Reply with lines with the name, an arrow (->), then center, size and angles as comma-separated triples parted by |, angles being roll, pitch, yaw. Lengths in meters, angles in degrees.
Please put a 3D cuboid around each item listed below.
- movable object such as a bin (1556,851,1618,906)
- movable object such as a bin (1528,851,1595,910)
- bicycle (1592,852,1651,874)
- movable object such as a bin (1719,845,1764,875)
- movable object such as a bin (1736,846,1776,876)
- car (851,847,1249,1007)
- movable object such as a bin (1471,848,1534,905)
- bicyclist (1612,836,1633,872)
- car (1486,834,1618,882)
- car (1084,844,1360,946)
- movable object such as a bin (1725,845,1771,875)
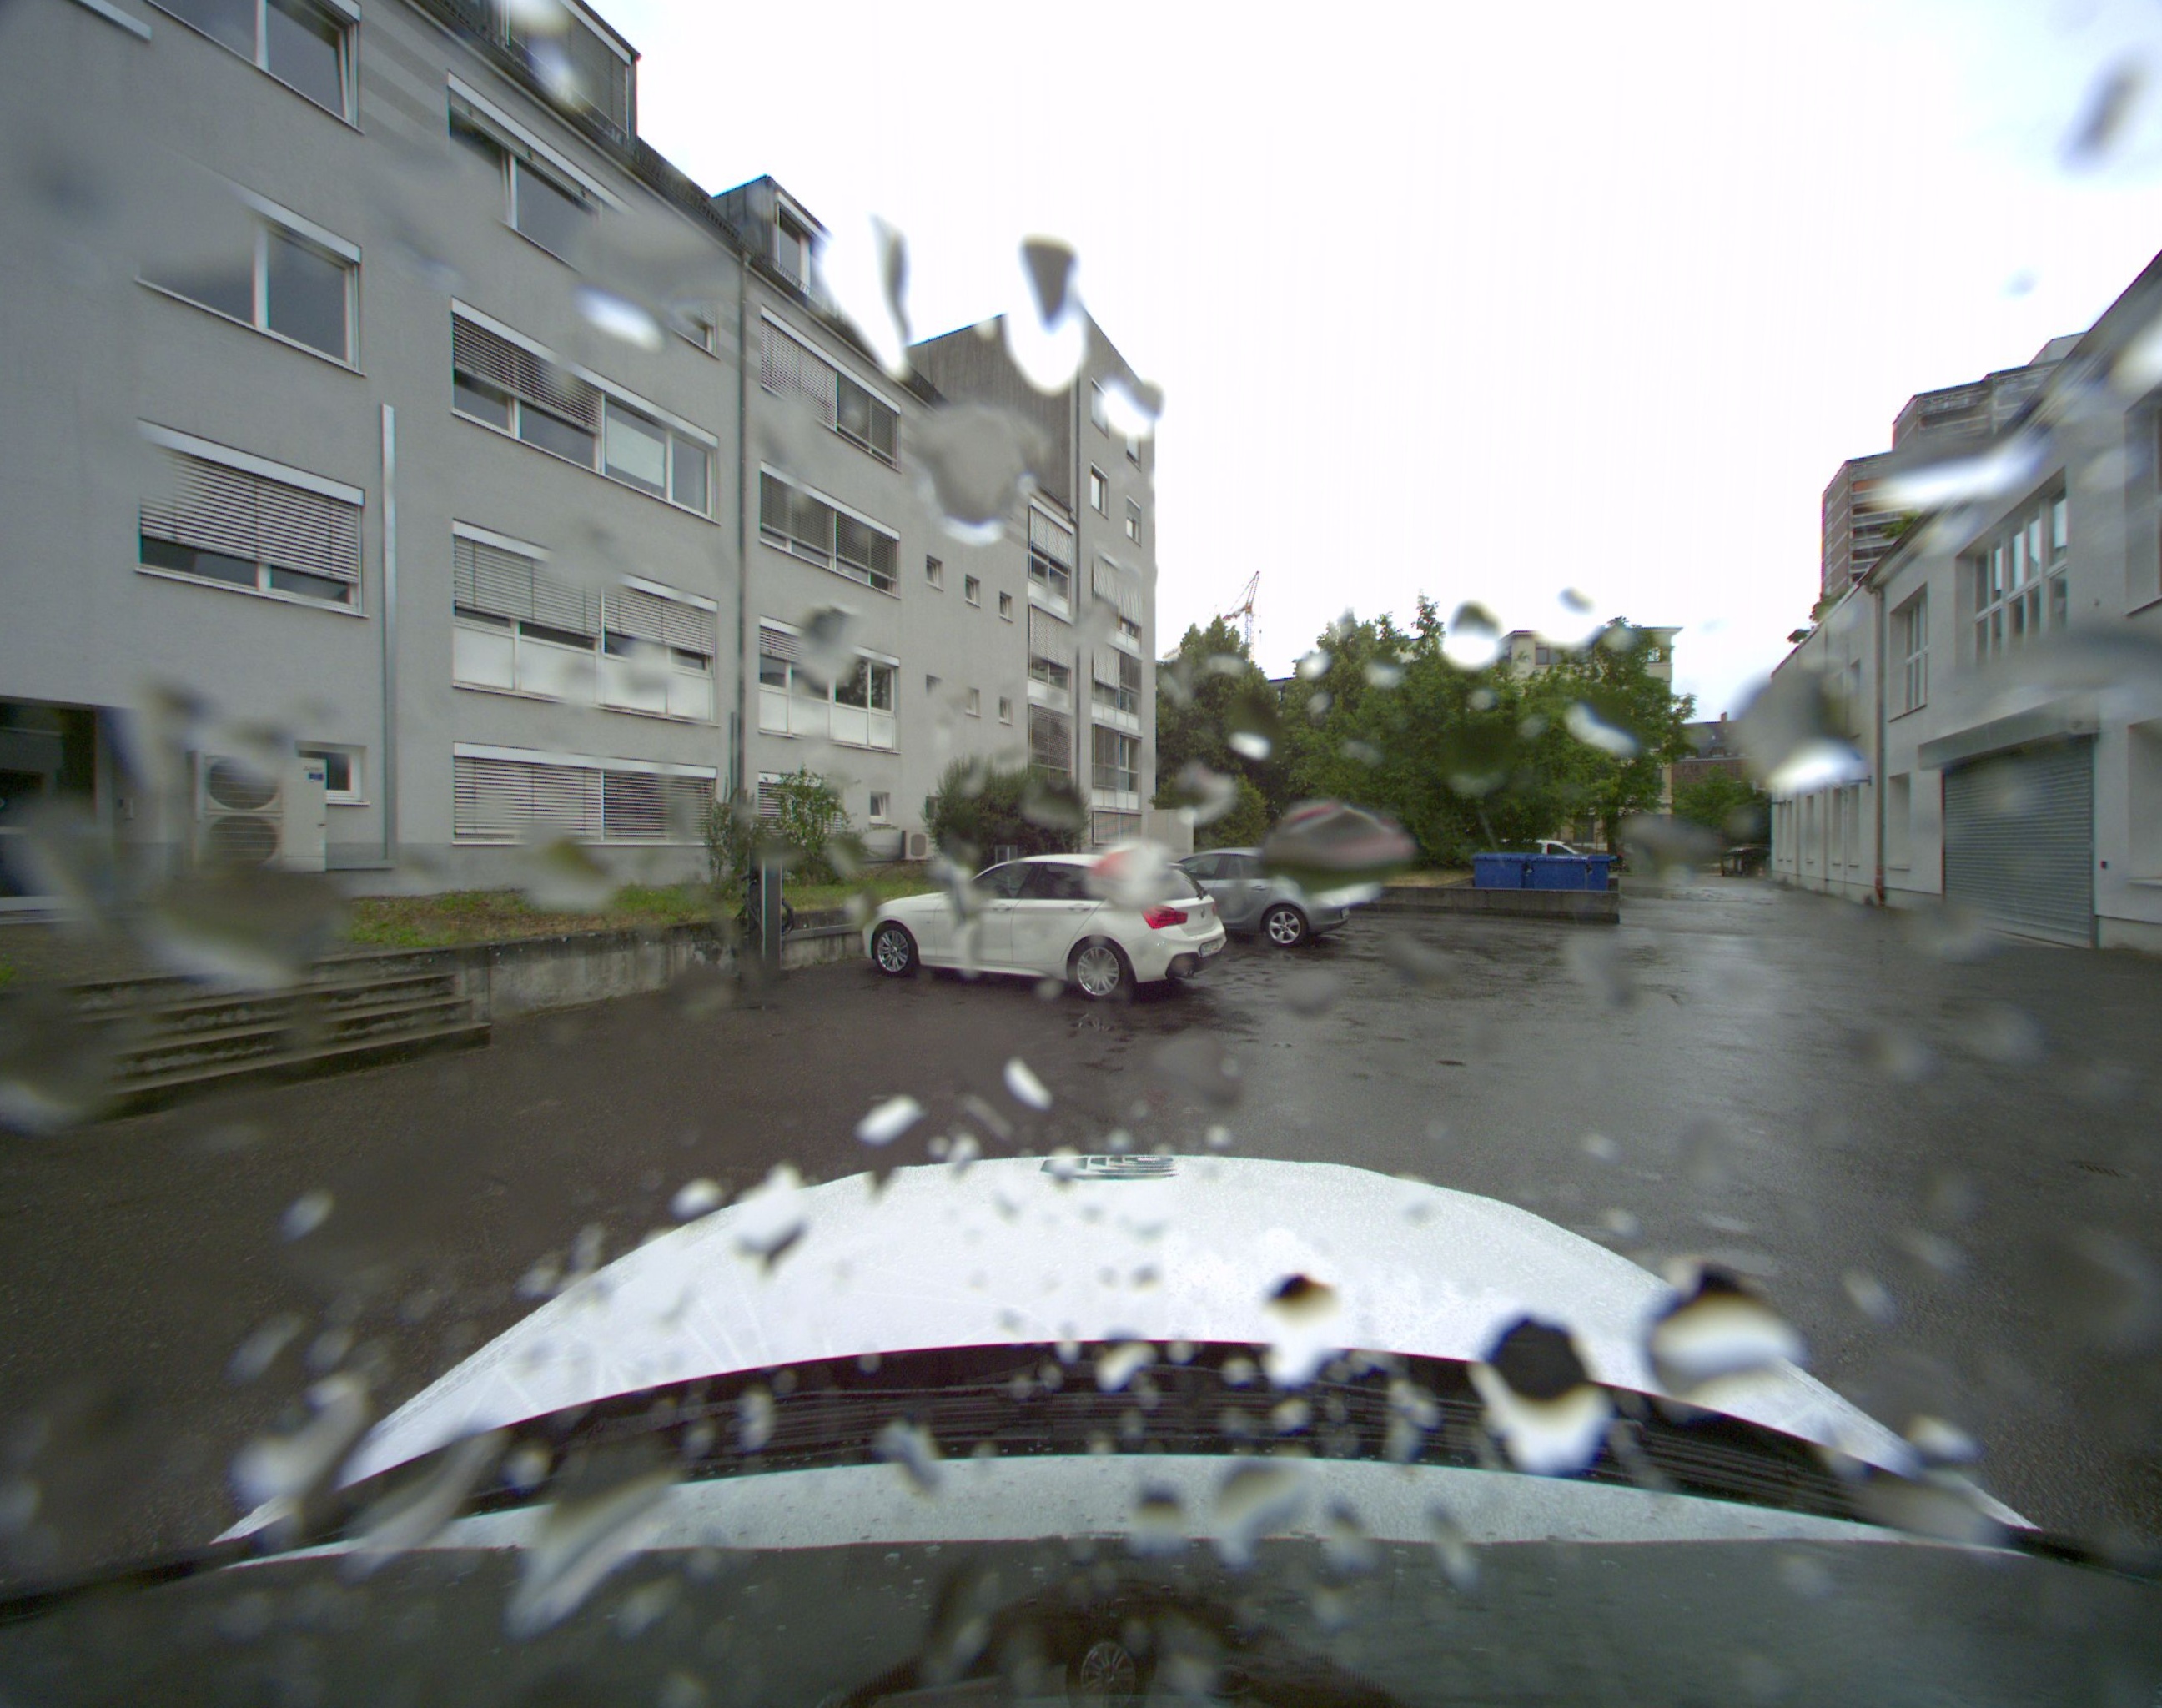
movable object such as a bin -> 13.163, 0.634, 21.178 | 1.297, 1.358, 1.917 | -1, -2, 33
movable object such as a bin -> 11.708, 0.638, 19.802 | 1.297, 1.358, 1.917 | -1, -2, 33
bicycle -> 30.255, 0.518, 45.617 | 2.719, 1.186, 0.738 | -1, 0, 3
movable object such as a bin -> 32.985, 0.311, 40.699 | 1.473, 1.448, 1.321 | -1, -2, 28
movable object such as a bin -> 31.563, 0.335, 38.091 | 1.173, 1.374, 1.321 | -1, -2, 28
car -> -0.397, 0.679, 9.455 | 4.167, 1.489, 2.012 | 0, 0, 29
movable object such as a bin -> 10.635, 0.571, 20.514 | 1.217, 1.358, 1.983 | -1, -2, 33
bicyclist -> 30.348, 0.003, 45.617 | 0.704, 2.013, 0.747 | 0, 1, 4
car -> 19.989, 0.244, 34.644 | 4.637, 1.882, 2.136 | -1, -3, 35
car -> 2.362, 0.600, 13.773 | 4.167, 1.489, 2.012 | 0, 0, 29
movable object such as a bin -> 32.326, 0.307, 39.511 | 1.473, 1.448, 1.321 | -1, -2, 28
